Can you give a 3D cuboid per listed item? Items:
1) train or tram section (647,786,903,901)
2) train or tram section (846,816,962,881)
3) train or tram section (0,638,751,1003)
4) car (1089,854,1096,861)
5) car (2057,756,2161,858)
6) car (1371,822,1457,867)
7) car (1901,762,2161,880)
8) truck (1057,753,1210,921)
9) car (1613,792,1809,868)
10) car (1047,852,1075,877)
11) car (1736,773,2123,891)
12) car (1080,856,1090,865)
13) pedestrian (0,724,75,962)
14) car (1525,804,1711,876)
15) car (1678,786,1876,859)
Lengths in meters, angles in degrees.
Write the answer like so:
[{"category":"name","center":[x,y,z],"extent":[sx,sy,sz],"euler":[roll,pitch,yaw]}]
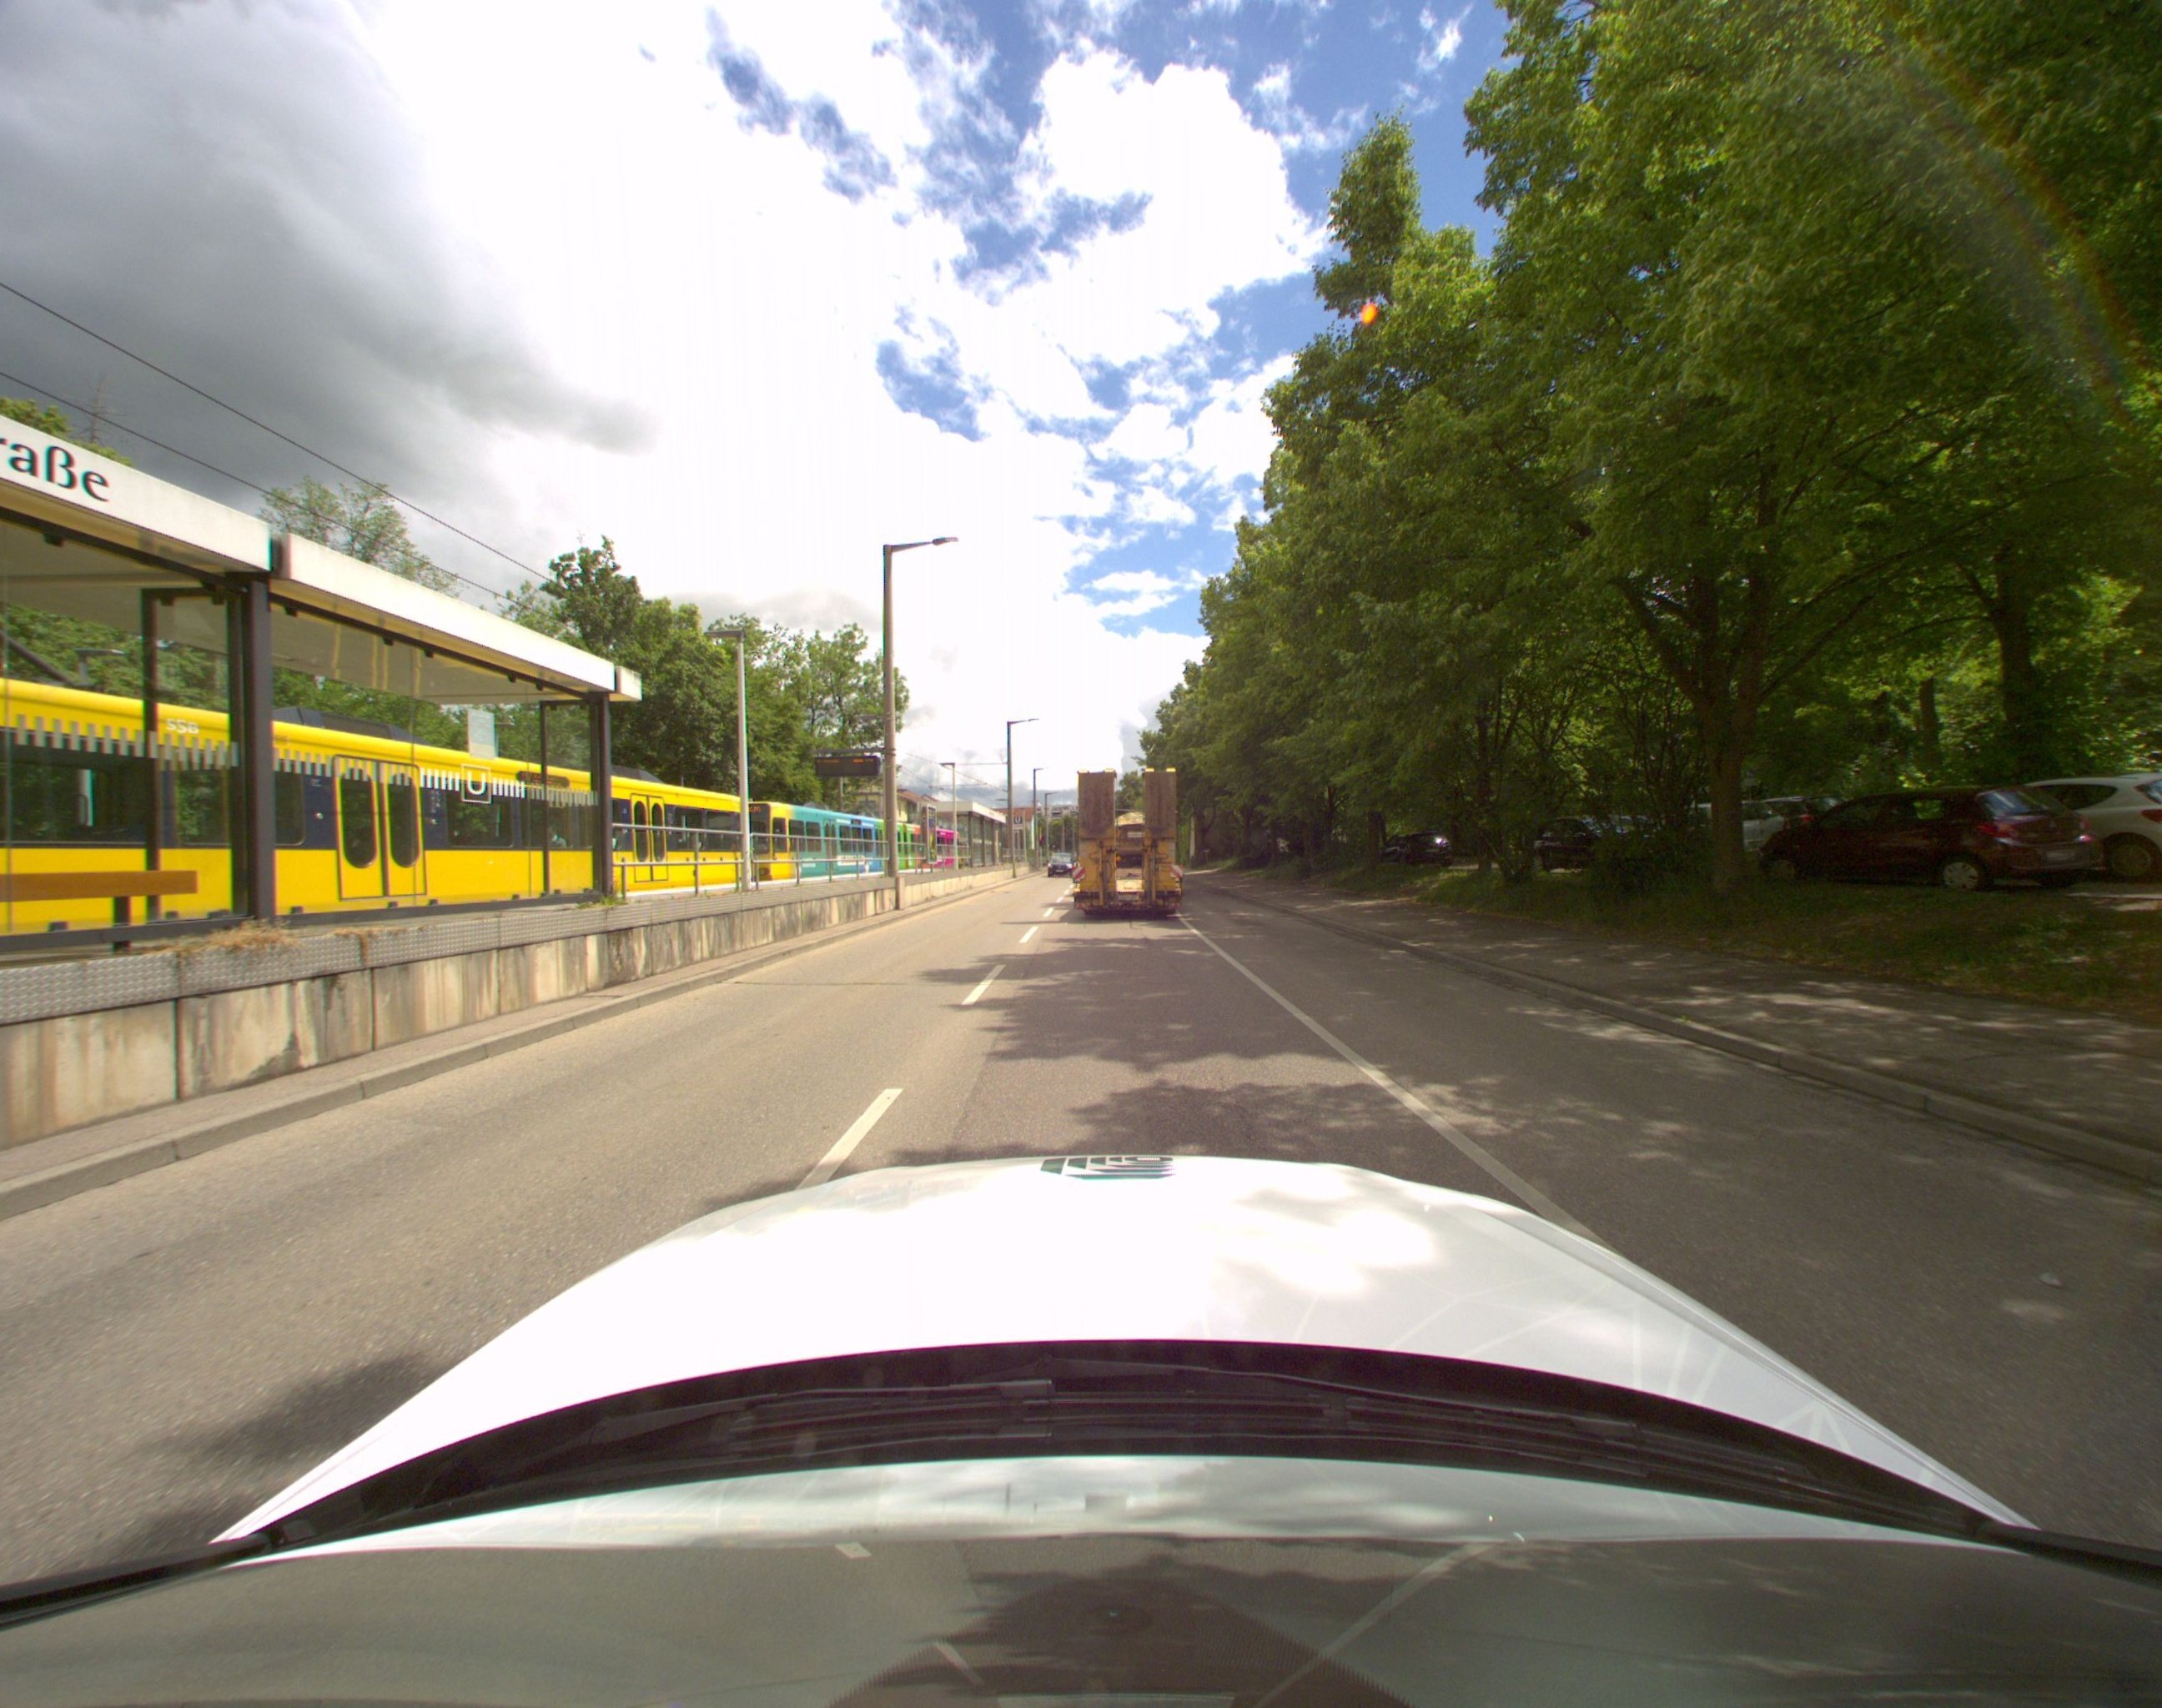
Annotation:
[{"category":"train or tram section","center":[-11.310,-0.304,34.113],"extent":[3.097,3.465,19.201],"euler":[0,0,1]},{"category":"train or tram section","center":[-10.902,-0.291,53.308],"extent":[3.097,3.465,19.092],"euler":[0,0,1]},{"category":"train or tram section","center":[-11.690,-0.317,15.019],"extent":[3.097,3.465,18.999],"euler":[0,0,1]},{"category":"car","center":[2.594,0.841,183.728],"extent":[1.661,1.453,3.679],"euler":[0,-1,1]},{"category":"car","center":[17.835,-0.805,12.347],"extent":[1.686,1.614,3.624],"euler":[-5,0,2]},{"category":"car","center":[12.872,-0.341,31.766],"extent":[1.708,1.507,4.162],"euler":[-4,0,2]},{"category":"car","center":[14.795,-0.488,12.046],"extent":[1.686,1.508,3.624],"euler":[-5,0,2]},{"category":"truck","center":[1.069,-0.381,25.329],"extent":[3.393,3.732,13.731],"euler":[-1,0,-1]},{"category":"car","center":[14.966,-0.510,19.656],"extent":[1.629,1.566,3.990],"euler":[-3,0,1]},{"category":"car","center":[-1.374,0.716,56.618],"extent":[1.714,1.682,4.388],"euler":[0,0,1]},{"category":"car","center":[12.347,-0.283,12.260],"extent":[1.607,1.413,3.810],"euler":[-3,0,-6]},{"category":"car","center":[0.706,1.151,142.614],"extent":[1.661,1.453,3.679],"euler":[0,-1,1]},{"category":"pedestrian","center":[-5.764,-0.035,3.857],"extent":[0.793,1.186,0.919],"euler":[-3,0,0]},{"category":"car","center":[12.629,-0.291,19.501],"extent":[1.791,1.464,3.989],"euler":[-3,0,1]},{"category":"car","center":[17.630,-0.727,20.912],"extent":[1.602,1.566,3.990],"euler":[-5,0,1]}]
